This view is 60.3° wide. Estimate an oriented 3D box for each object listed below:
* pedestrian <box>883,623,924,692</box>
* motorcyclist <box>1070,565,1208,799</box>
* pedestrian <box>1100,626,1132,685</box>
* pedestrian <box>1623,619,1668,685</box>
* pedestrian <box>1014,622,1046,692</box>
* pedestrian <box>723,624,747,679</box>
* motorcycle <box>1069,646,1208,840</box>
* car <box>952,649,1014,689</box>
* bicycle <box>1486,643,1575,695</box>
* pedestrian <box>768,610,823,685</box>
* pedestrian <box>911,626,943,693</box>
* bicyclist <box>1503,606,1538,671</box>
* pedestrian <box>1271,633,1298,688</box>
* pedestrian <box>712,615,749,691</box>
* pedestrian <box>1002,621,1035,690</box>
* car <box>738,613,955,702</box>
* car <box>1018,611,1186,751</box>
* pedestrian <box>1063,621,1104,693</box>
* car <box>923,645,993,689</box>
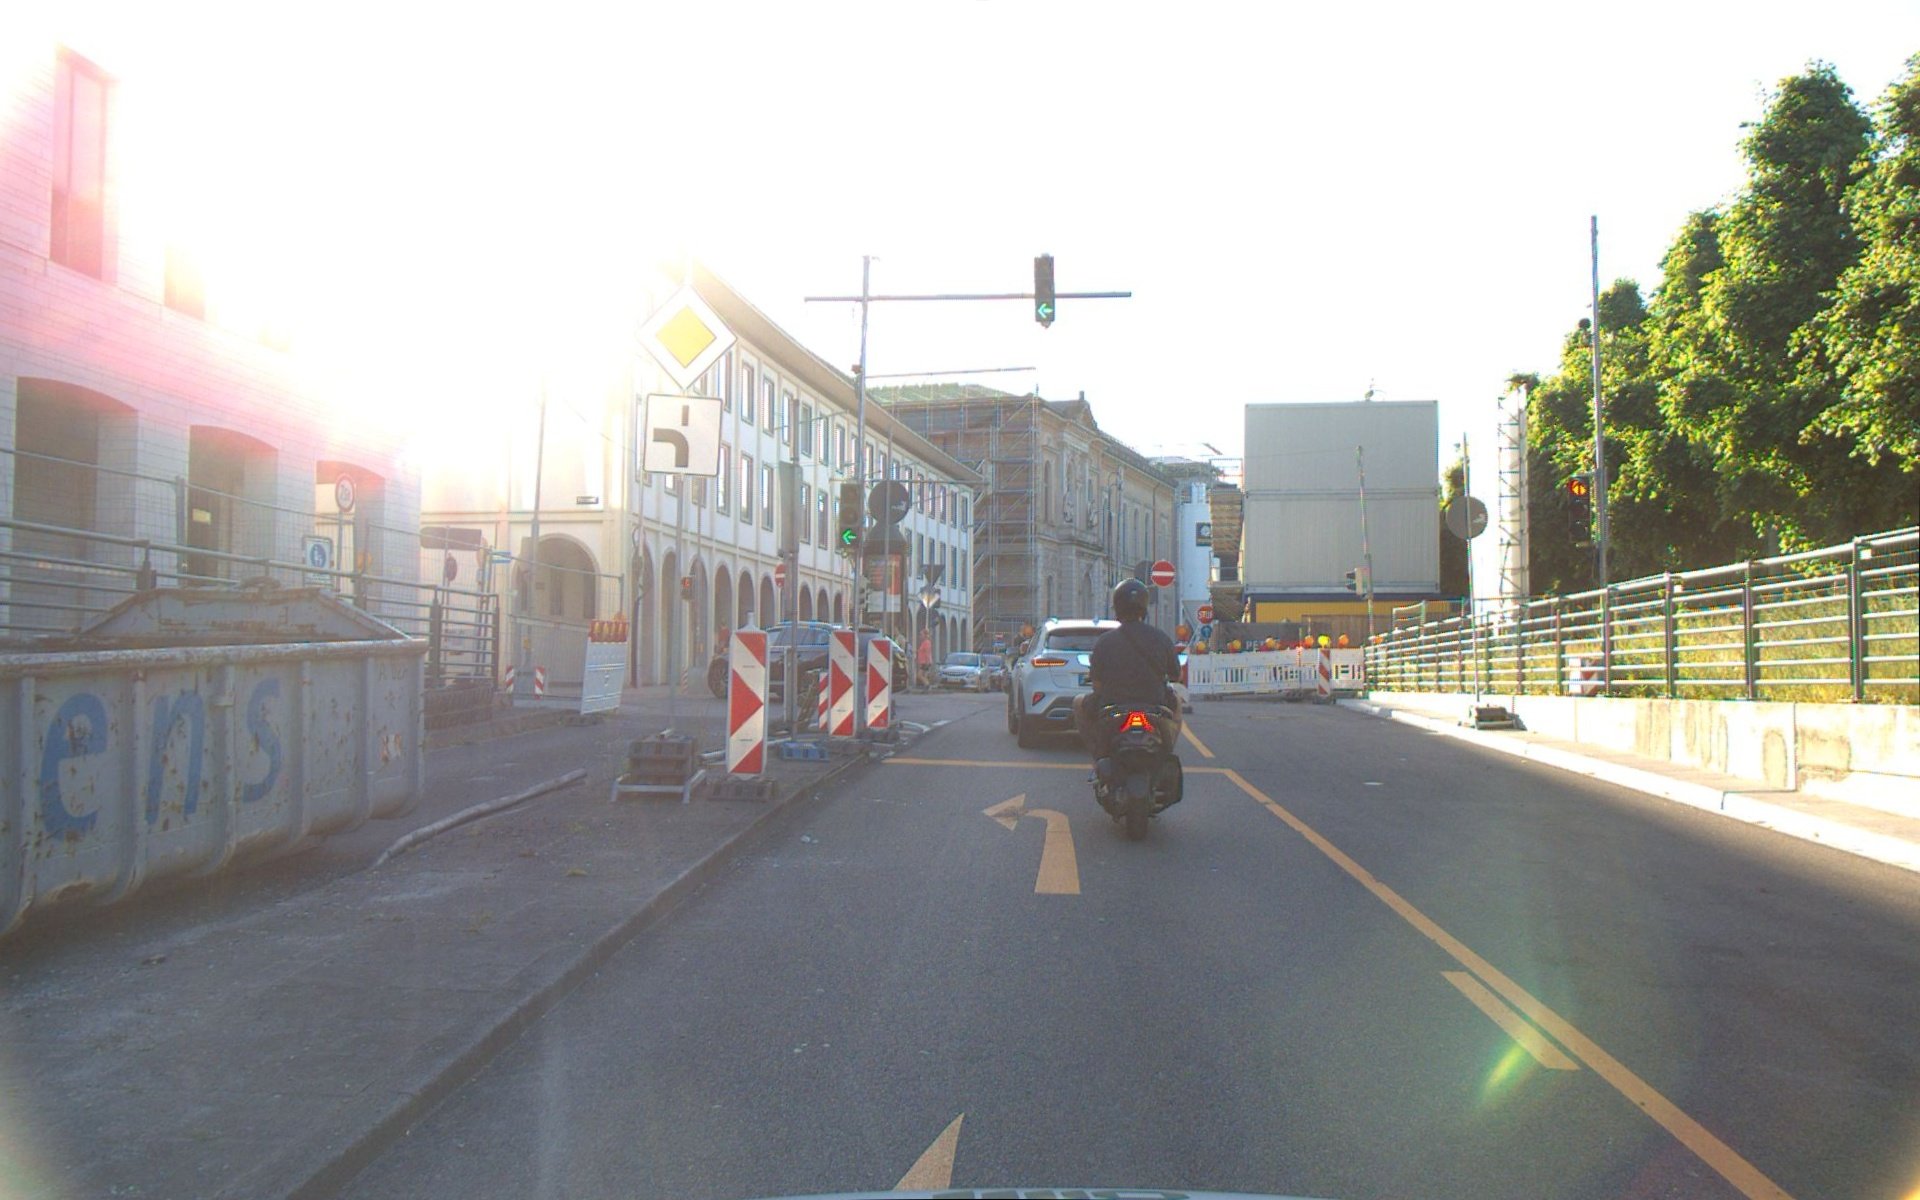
[{"bbox_3d":[-1.455,1.464,42.406,0.944,1.739,0.676,0,0,6],"label":"pedestrian"},{"bbox_3d":[1.270,0.565,11.882,0.934,1.587,1.239,0,-1,5],"label":"motorcyclist"},{"bbox_3d":[4.065,1.439,43.000,0.752,1.488,0.666,-2,-2,10],"label":"pedestrian"},{"bbox_3d":[16.742,1.272,40.411,0.729,1.593,0.664,-1,-2,-12],"label":"pedestrian"},{"bbox_3d":[1.839,1.490,43.270,0.721,1.802,0.622,-2,-2,10],"label":"pedestrian"},{"bbox_3d":[-7.863,1.792,57.724,0.627,1.873,0.728,0,0,10],"label":"pedestrian"},{"bbox_3d":[1.254,0.954,11.922,0.886,1.204,2.580,0,-1,5],"label":"motorcycle"},{"bbox_3d":[0.976,2.877,68.284,1.883,1.492,4.002,1,-4,11],"label":"car"},{"bbox_3d":[13.590,1.640,39.458,1.950,1.222,0.477,0,-3,9],"label":"bicycle"},{"bbox_3d":[-4.062,1.164,40.835,1.216,1.833,0.717,0,0,6],"label":"pedestrian"},{"bbox_3d":[-0.823,1.487,41.380,0.709,1.652,0.620,0,0,6],"label":"pedestrian"},{"bbox_3d":[13.392,0.919,39.554,0.687,1.543,0.687,0,-3,11],"label":"bicyclist"},{"bbox_3d":[8.061,1.503,41.075,0.605,1.322,0.494,2,-2,9],"label":"pedestrian"},{"bbox_3d":[-5.676,1.304,40.943,0.756,1.833,0.712,0,0,6],"label":"pedestrian"},{"bbox_3d":[1.502,1.420,42.359,0.721,1.746,0.622,-2,-2,10],"label":"pedestrian"},{"bbox_3d":[-2.190,1.088,31.317,4.030,1.578,1.770,-2,-2,40],"label":"car"},{"bbox_3d":[1.728,0.948,20.369,1.820,1.498,4.002,2,-1,4],"label":"car"},{"bbox_3d":[3.052,1.416,40.866,0.953,1.759,0.799,-1,-3,6],"label":"pedestrian"},{"bbox_3d":[-0.037,2.527,61.891,1.883,1.492,4.002,1,-4,11],"label":"car"}]
